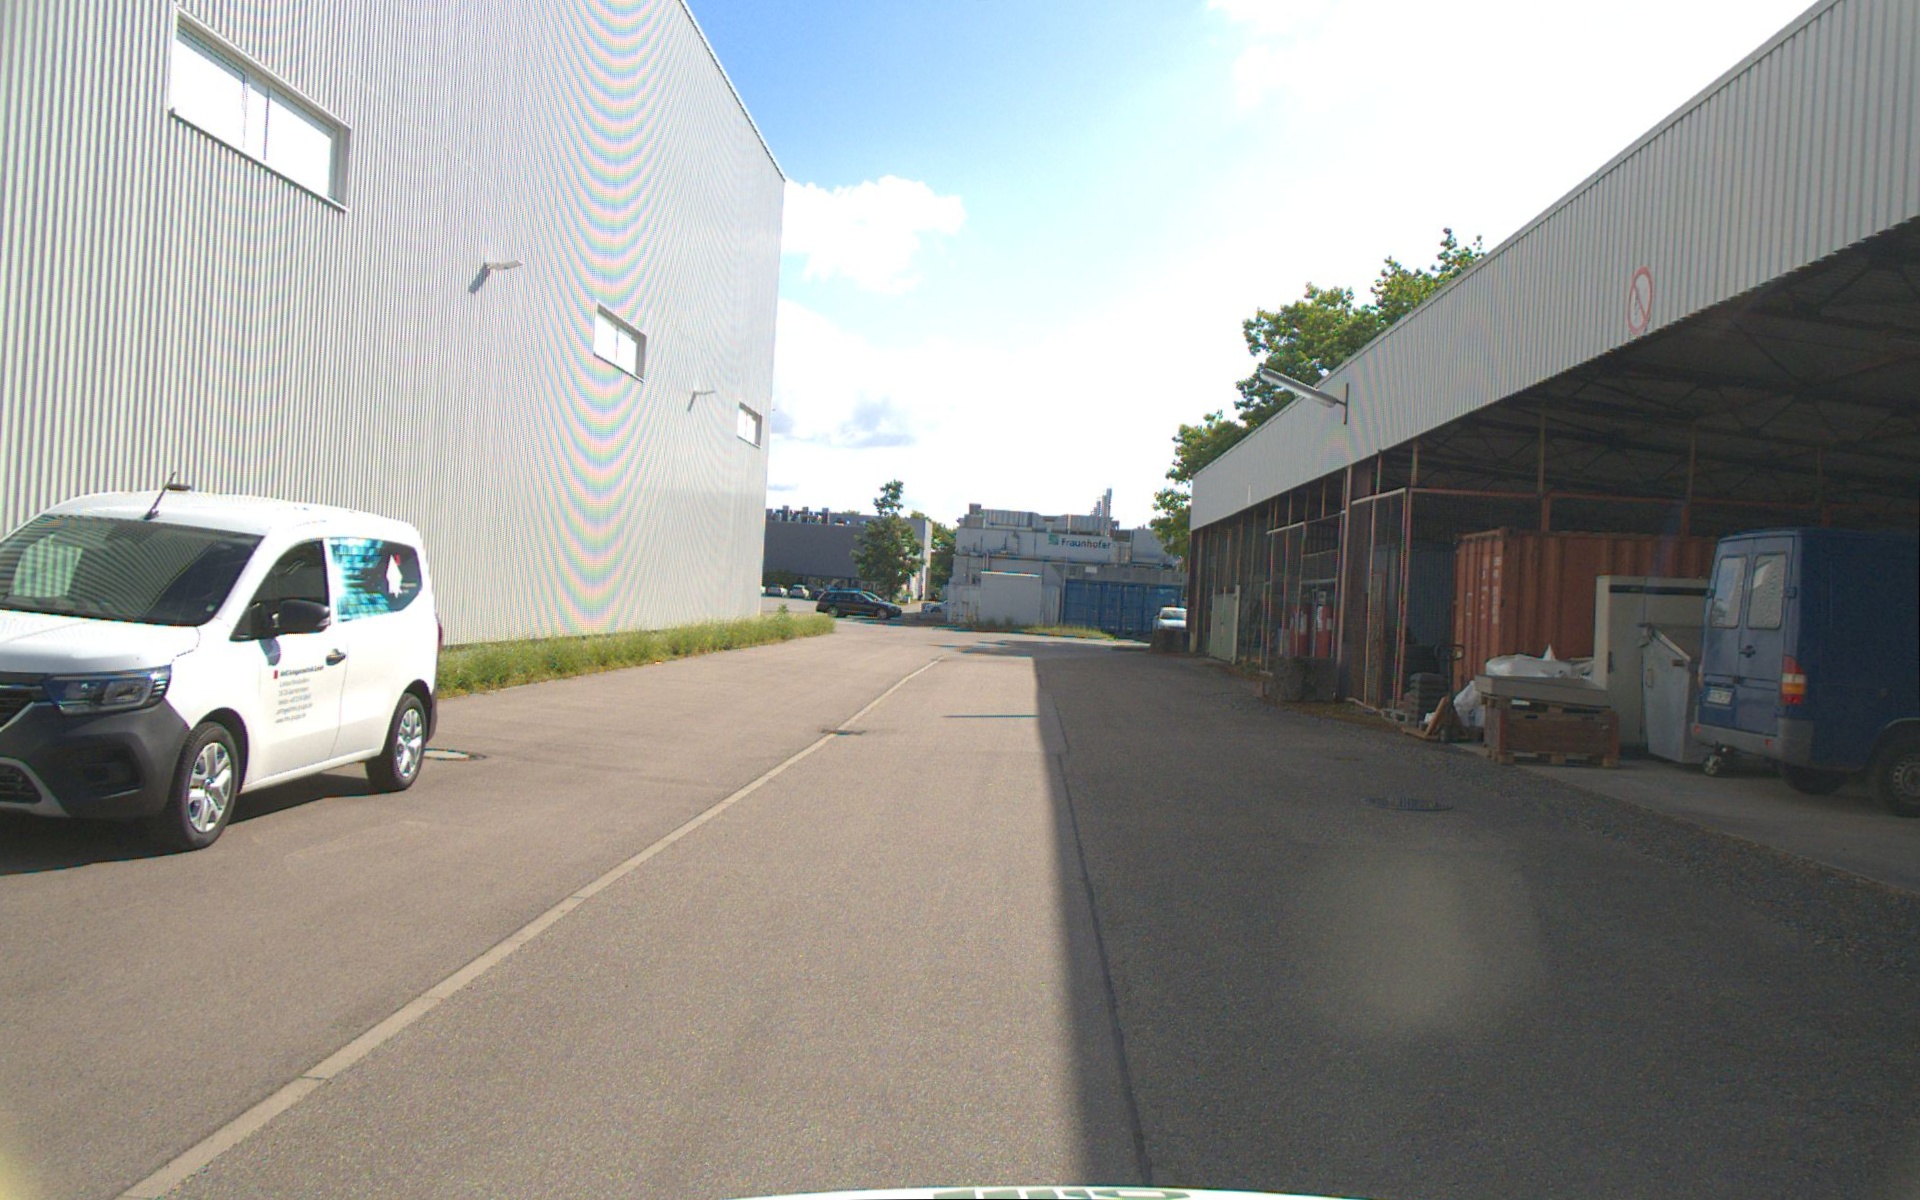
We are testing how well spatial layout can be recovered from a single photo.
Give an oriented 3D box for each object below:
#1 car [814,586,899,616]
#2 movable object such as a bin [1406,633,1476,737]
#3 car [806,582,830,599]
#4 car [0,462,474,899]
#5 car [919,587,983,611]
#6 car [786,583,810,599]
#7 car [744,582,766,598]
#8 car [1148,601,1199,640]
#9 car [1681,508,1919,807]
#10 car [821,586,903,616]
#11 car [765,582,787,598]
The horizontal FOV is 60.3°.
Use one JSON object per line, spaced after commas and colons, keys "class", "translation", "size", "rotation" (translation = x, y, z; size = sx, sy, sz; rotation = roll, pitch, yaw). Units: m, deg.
{"class": "car", "translation": [-5.711, 0.053, 91.784], "size": [4.431, 1.534, 1.910], "rotation": [2, 0, 4]}
{"class": "movable object such as a bin", "translation": [5.834, 1.013, 20.097], "size": [0.569, 1.184, 1.239], "rotation": [2, 0, 6]}
{"class": "car", "translation": [-16.089, -1.056, 187.607], "size": [2.148, 1.766, 4.001], "rotation": [1, 0, 1]}
{"class": "car", "translation": [-4.489, 0.300, 9.501], "size": [1.852, 1.877, 4.359], "rotation": [5, 0, 2]}
{"class": "car", "translation": [-0.651, -0.051, 119.245], "size": [4.432, 1.534, 1.909], "rotation": [3, 0, 3]}
{"class": "car", "translation": [-18.530, -1.068, 189.396], "size": [2.148, 1.766, 4.001], "rotation": [1, 0, 1]}
{"class": "car", "translation": [-23.506, -1.139, 189.560], "size": [1.952, 1.766, 4.001], "rotation": [1, 0, 1]}
{"class": "car", "translation": [10.106, 0.937, 78.518], "size": [1.952, 1.613, 4.174], "rotation": [3, 2, 1]}
{"class": "car", "translation": [9.143, 0.543, 14.310], "size": [4.875, 2.366, 2.001], "rotation": [2, 0, 2]}
{"class": "car", "translation": [-5.628, 0.068, 95.021], "size": [4.431, 1.534, 1.910], "rotation": [2, 0, 4]}
{"class": "car", "translation": [-21.074, -1.091, 189.132], "size": [1.952, 1.766, 4.001], "rotation": [1, 0, 1]}
